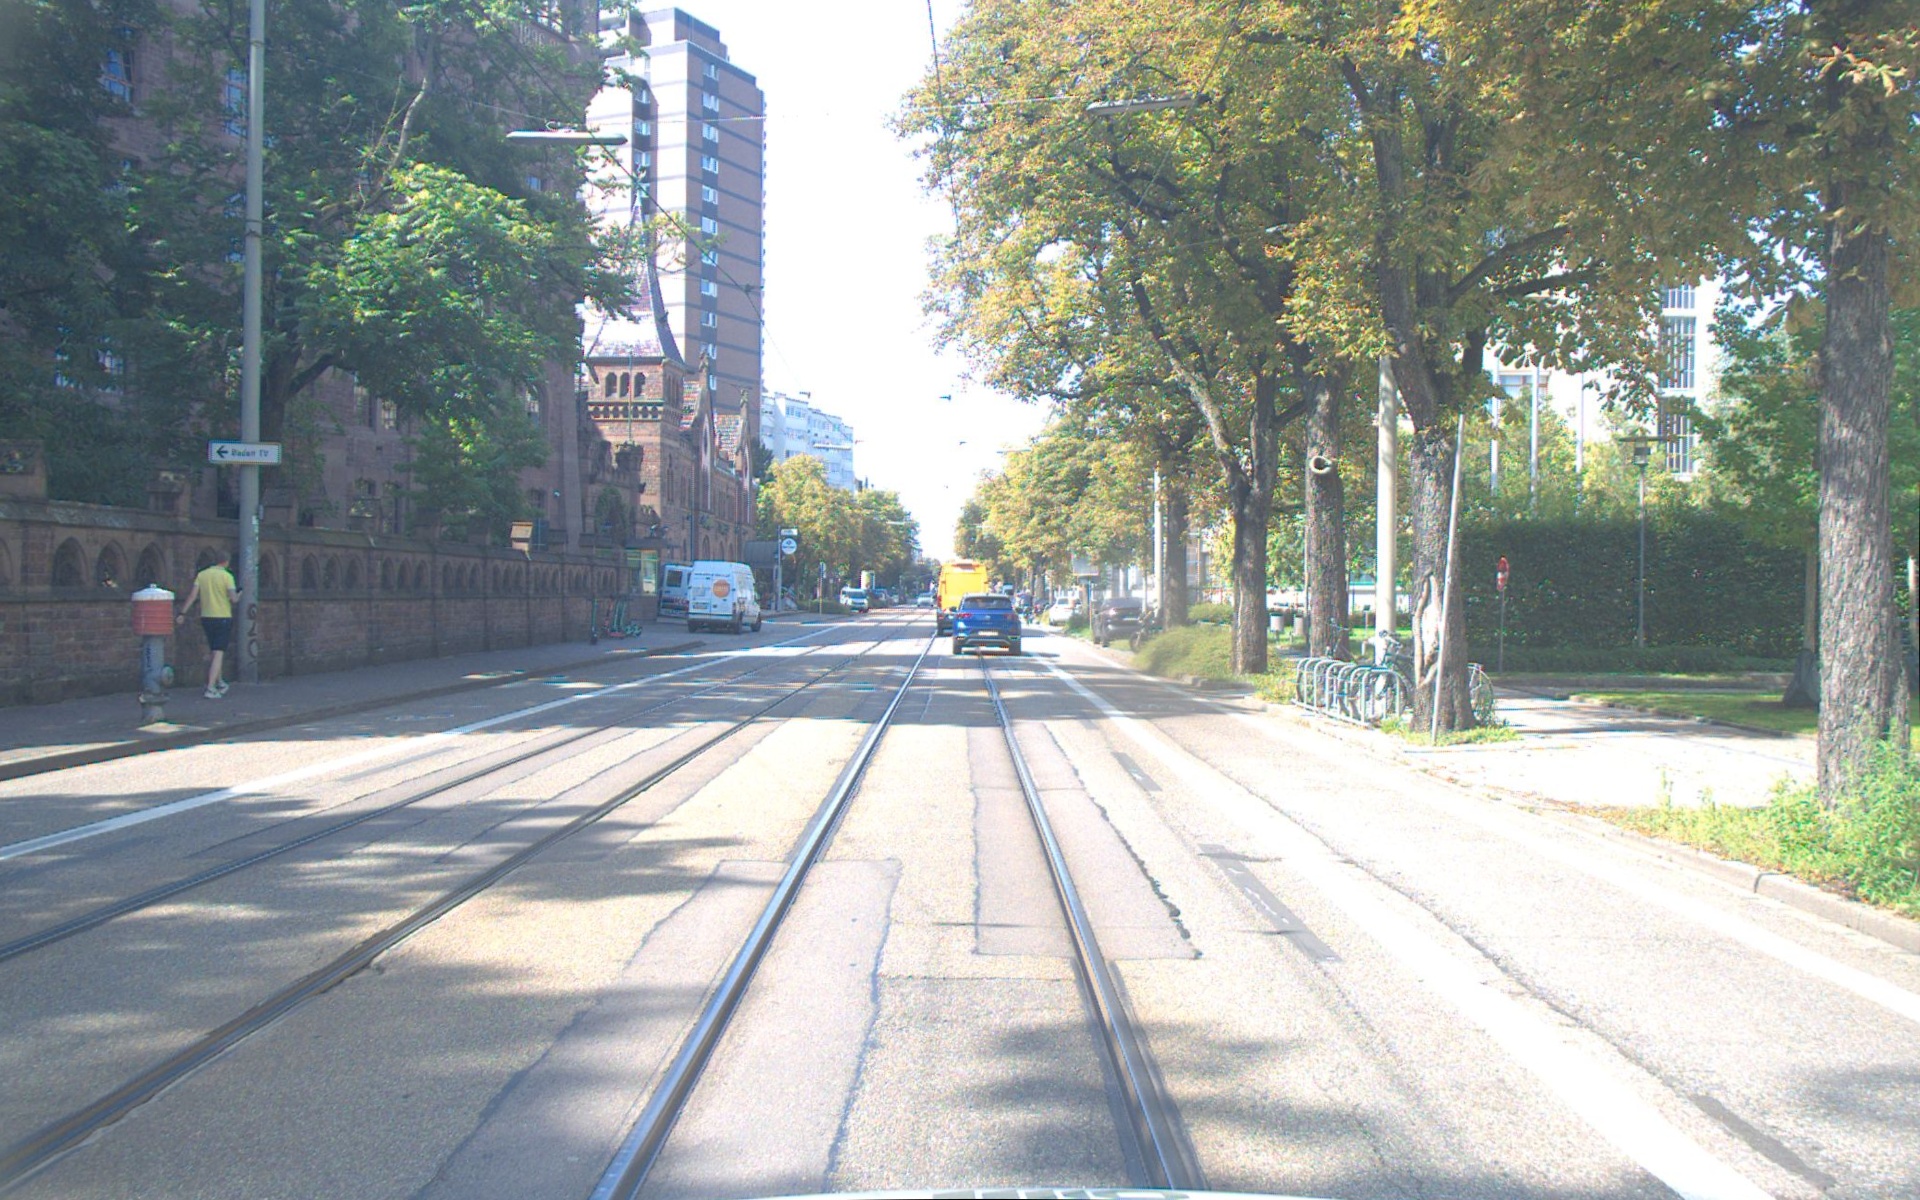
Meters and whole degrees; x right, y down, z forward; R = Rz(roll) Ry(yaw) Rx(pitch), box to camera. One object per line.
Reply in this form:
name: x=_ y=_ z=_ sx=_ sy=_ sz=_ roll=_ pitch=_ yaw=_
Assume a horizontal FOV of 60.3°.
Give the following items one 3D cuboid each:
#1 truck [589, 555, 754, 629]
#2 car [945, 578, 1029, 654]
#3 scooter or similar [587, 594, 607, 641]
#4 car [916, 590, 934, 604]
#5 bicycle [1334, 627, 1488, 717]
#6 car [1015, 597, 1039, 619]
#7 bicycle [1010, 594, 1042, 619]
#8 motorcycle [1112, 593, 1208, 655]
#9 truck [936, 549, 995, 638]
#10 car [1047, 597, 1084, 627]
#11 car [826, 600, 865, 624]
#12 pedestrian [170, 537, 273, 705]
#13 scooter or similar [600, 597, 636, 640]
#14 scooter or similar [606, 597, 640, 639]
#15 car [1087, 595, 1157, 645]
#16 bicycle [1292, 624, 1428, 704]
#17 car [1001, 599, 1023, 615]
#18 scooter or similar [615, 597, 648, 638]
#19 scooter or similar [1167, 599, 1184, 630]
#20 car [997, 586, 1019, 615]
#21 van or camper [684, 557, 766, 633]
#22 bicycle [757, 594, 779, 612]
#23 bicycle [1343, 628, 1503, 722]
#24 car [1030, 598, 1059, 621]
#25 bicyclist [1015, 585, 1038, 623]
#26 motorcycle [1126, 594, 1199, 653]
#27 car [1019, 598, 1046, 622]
truck: x=-11.822 y=-0.348 z=67.964 sx=6.188 sy=2.582 sz=2.132 roll=4 pitch=1 yaw=5
car: x=0.670 y=0.392 z=44.030 sx=2.092 sy=1.891 sz=5.568 roll=0 pitch=0 yaw=0
scooter or similar: x=-9.439 y=0.449 z=42.957 sx=0.413 sy=1.199 sz=1.311 roll=1 pitch=0 yaw=-15
car: x=-3.892 y=-0.357 z=185.882 sx=1.809 sy=1.518 sz=4.867 roll=-1 pitch=0 yaw=1
bicycle: x=5.518 y=0.877 z=20.278 sx=1.735 sy=1.068 sz=0.540 roll=0 pitch=0 yaw=-1
car: x=5.152 y=0.591 z=127.804 sx=1.600 sy=1.612 sz=4.187 roll=1 pitch=0 yaw=-1
bicycle: x=3.199 y=0.308 z=80.612 sx=1.373 sy=1.154 sz=4.000 roll=1 pitch=0 yaw=0
motorcycle: x=5.221 y=0.616 z=43.228 sx=2.408 sy=1.542 sz=0.849 roll=1 pitch=0 yaw=39
truck: x=0.197 y=-0.238 z=61.847 sx=2.092 sy=3.179 sz=6.084 roll=0 pitch=0 yaw=0
car: x=5.386 y=0.594 z=84.776 sx=1.625 sy=1.507 sz=4.217 roll=0 pitch=0 yaw=0
car: x=-9.112 y=0.910 z=131.538 sx=1.725 sy=1.828 sz=3.967 roll=1 pitch=0 yaw=-26
pedestrian: x=-9.281 y=0.262 z=20.823 sx=0.846 sy=2.049 sz=0.983 roll=1 pitch=0 yaw=-2
scooter or similar: x=-9.768 y=0.527 z=47.257 sx=0.333 sy=1.199 sz=1.177 roll=1 pitch=0 yaw=25
scooter or similar: x=-9.856 y=0.523 z=48.429 sx=0.333 sy=1.199 sz=1.177 roll=1 pitch=0 yaw=25
car: x=5.241 y=0.632 z=53.894 sx=1.720 sy=1.542 sz=4.608 roll=0 pitch=0 yaw=-1
bicycle: x=5.498 y=0.872 z=22.757 sx=1.735 sy=1.068 sz=0.540 roll=0 pitch=0 yaw=-1
car: x=4.926 y=0.670 z=158.418 sx=1.869 sy=1.456 sz=4.291 roll=1 pitch=0 yaw=-1
scooter or similar: x=-9.841 y=0.521 z=49.563 sx=0.333 sy=1.199 sz=1.177 roll=1 pitch=0 yaw=25
scooter or similar: x=9.080 y=0.590 z=69.715 sx=0.544 sy=1.281 sz=1.818 roll=1 pitch=0 yaw=2
car: x=4.922 y=0.042 z=169.012 sx=1.953 sy=2.804 sz=5.760 roll=1 pitch=0 yaw=-1
van or camper: x=-8.900 y=-0.195 z=63.128 sx=2.069 sy=2.722 sz=5.956 roll=1 pitch=0 yaw=1
bicycle: x=-12.882 y=0.191 z=110.916 sx=1.422 sy=1.112 sz=0.399 roll=4 pitch=-1 yaw=-4
bicycle: x=5.476 y=0.878 z=19.600 sx=1.735 sy=1.068 sz=0.540 roll=0 pitch=0 yaw=-1
car: x=5.222 y=0.594 z=103.157 sx=1.625 sy=1.432 sz=4.217 roll=0 pitch=0 yaw=0
bicyclist: x=3.237 y=0.184 z=80.613 sx=1.010 sy=1.844 sz=1.016 roll=1 pitch=0 yaw=0
motorcycle: x=5.481 y=0.617 z=44.930 sx=0.839 sy=1.542 sz=2.436 roll=1 pitch=0 yaw=-24
car: x=5.035 y=0.692 z=114.705 sx=1.707 sy=1.583 sz=4.217 roll=0 pitch=0 yaw=0
